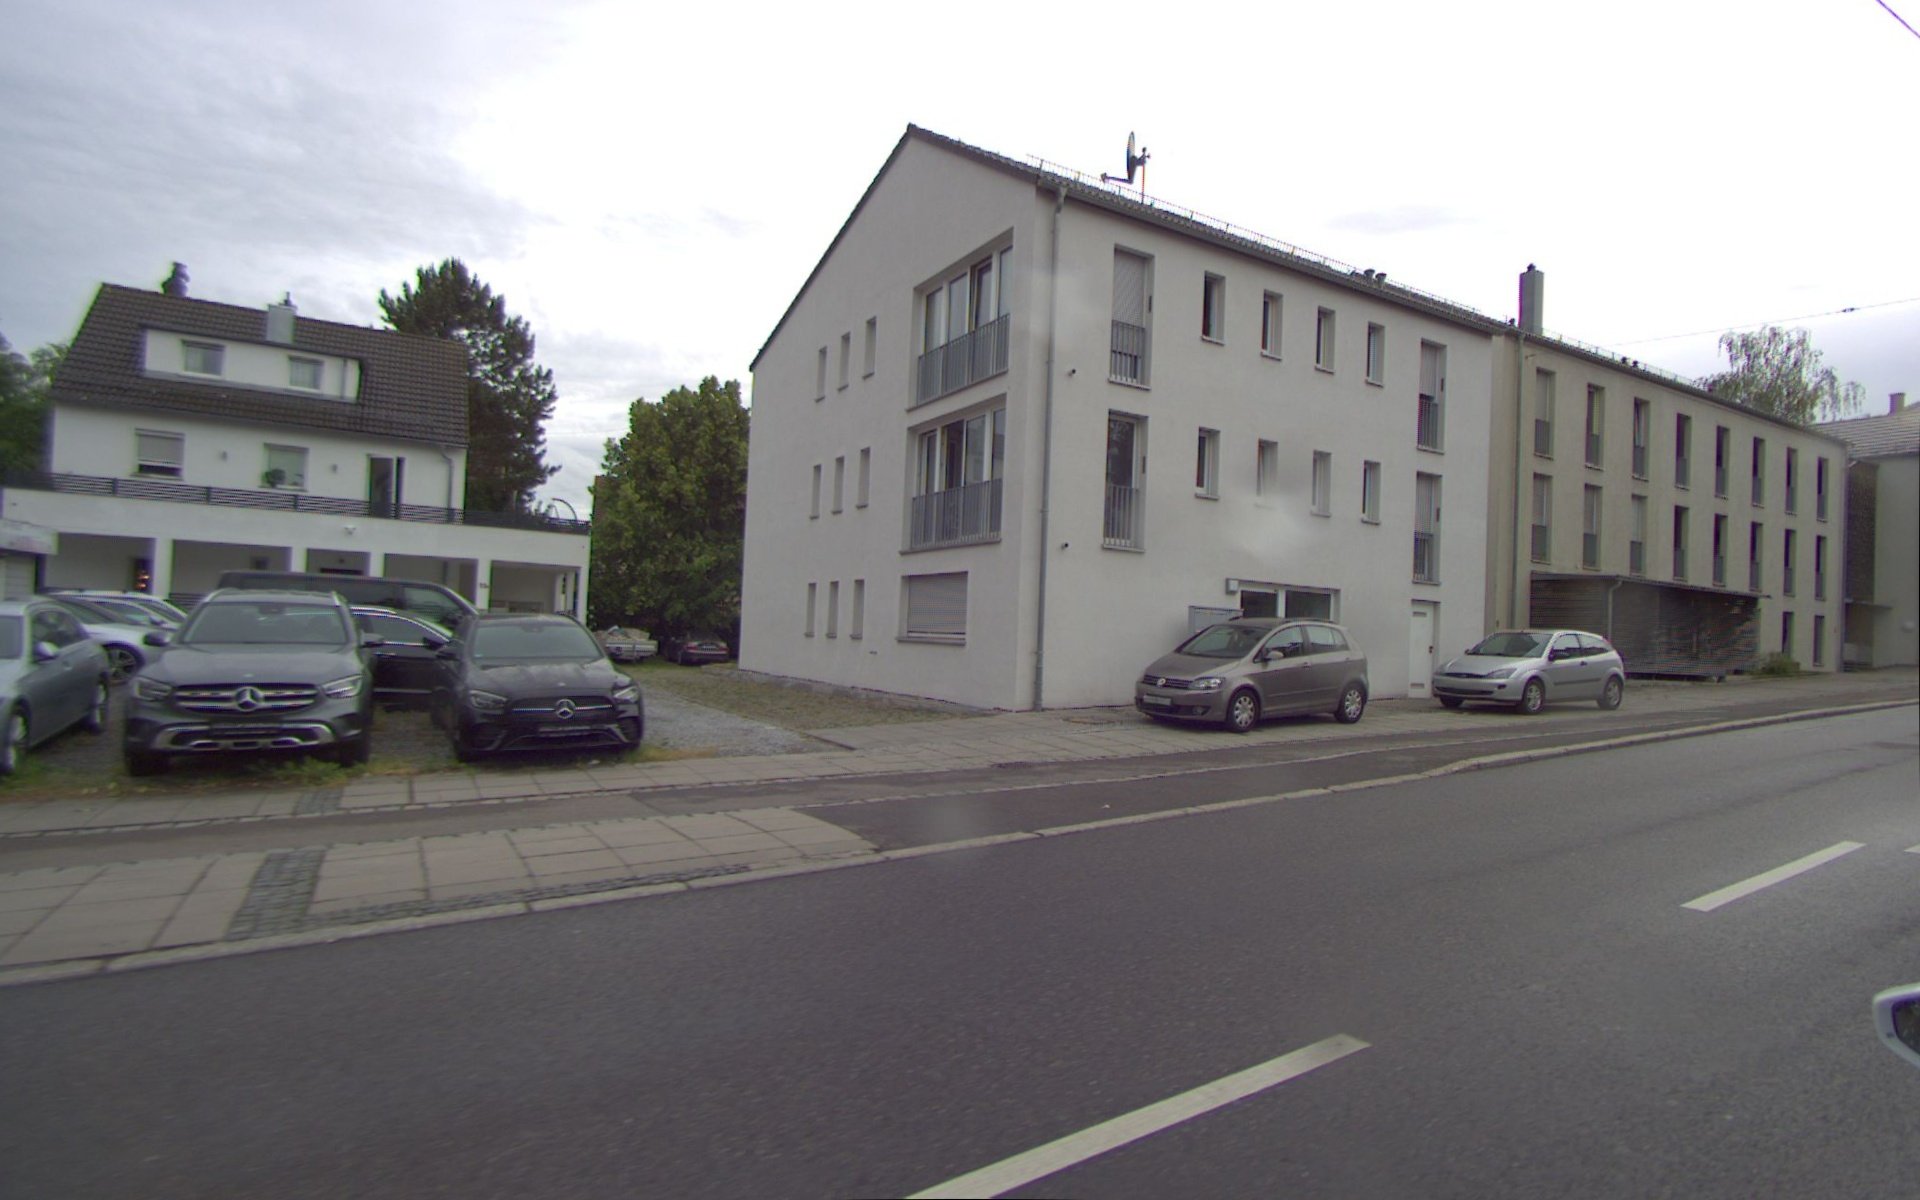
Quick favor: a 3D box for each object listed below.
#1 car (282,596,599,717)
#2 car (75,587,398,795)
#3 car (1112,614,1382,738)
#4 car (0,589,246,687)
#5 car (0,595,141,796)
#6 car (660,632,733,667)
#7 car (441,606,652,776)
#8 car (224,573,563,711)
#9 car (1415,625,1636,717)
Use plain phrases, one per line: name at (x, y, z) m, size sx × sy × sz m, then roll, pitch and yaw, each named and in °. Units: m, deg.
car at (-7.600, 0.793, 14.928) m, size 3.953 × 1.583 × 1.773 m, roll 1°, pitch -2°, yaw -30°
car at (-7.303, 0.740, 10.700) m, size 2.126 × 1.630 × 4.513 m, roll 1°, pitch 1°, yaw -27°
car at (4.390, 1.059, 15.185) m, size 4.042 × 1.573 × 1.734 m, roll 1°, pitch 1°, yaw -35°
car at (-14.505, 0.598, 16.607) m, size 4.123 × 1.453 × 1.985 m, roll 1°, pitch 1°, yaw -28°
car at (-9.248, 0.735, 9.111) m, size 1.975 × 1.453 × 4.145 m, roll 1°, pitch 1°, yaw -27°
car at (-10.296, 1.889, 39.059) m, size 1.821 × 1.256 × 3.969 m, roll 1°, pitch -1°, yaw -29°
car at (-4.969, 0.889, 11.723) m, size 1.872 × 1.483 × 4.108 m, roll 1°, pitch 1°, yaw -28°
car at (-9.357, 0.687, 16.959) m, size 4.709 × 2.040 × 1.984 m, roll 1°, pitch -1°, yaw -31°
car at (10.502, 1.249, 18.599) m, size 4.129 × 1.528 × 1.737 m, roll 1°, pitch -1°, yaw -30°
